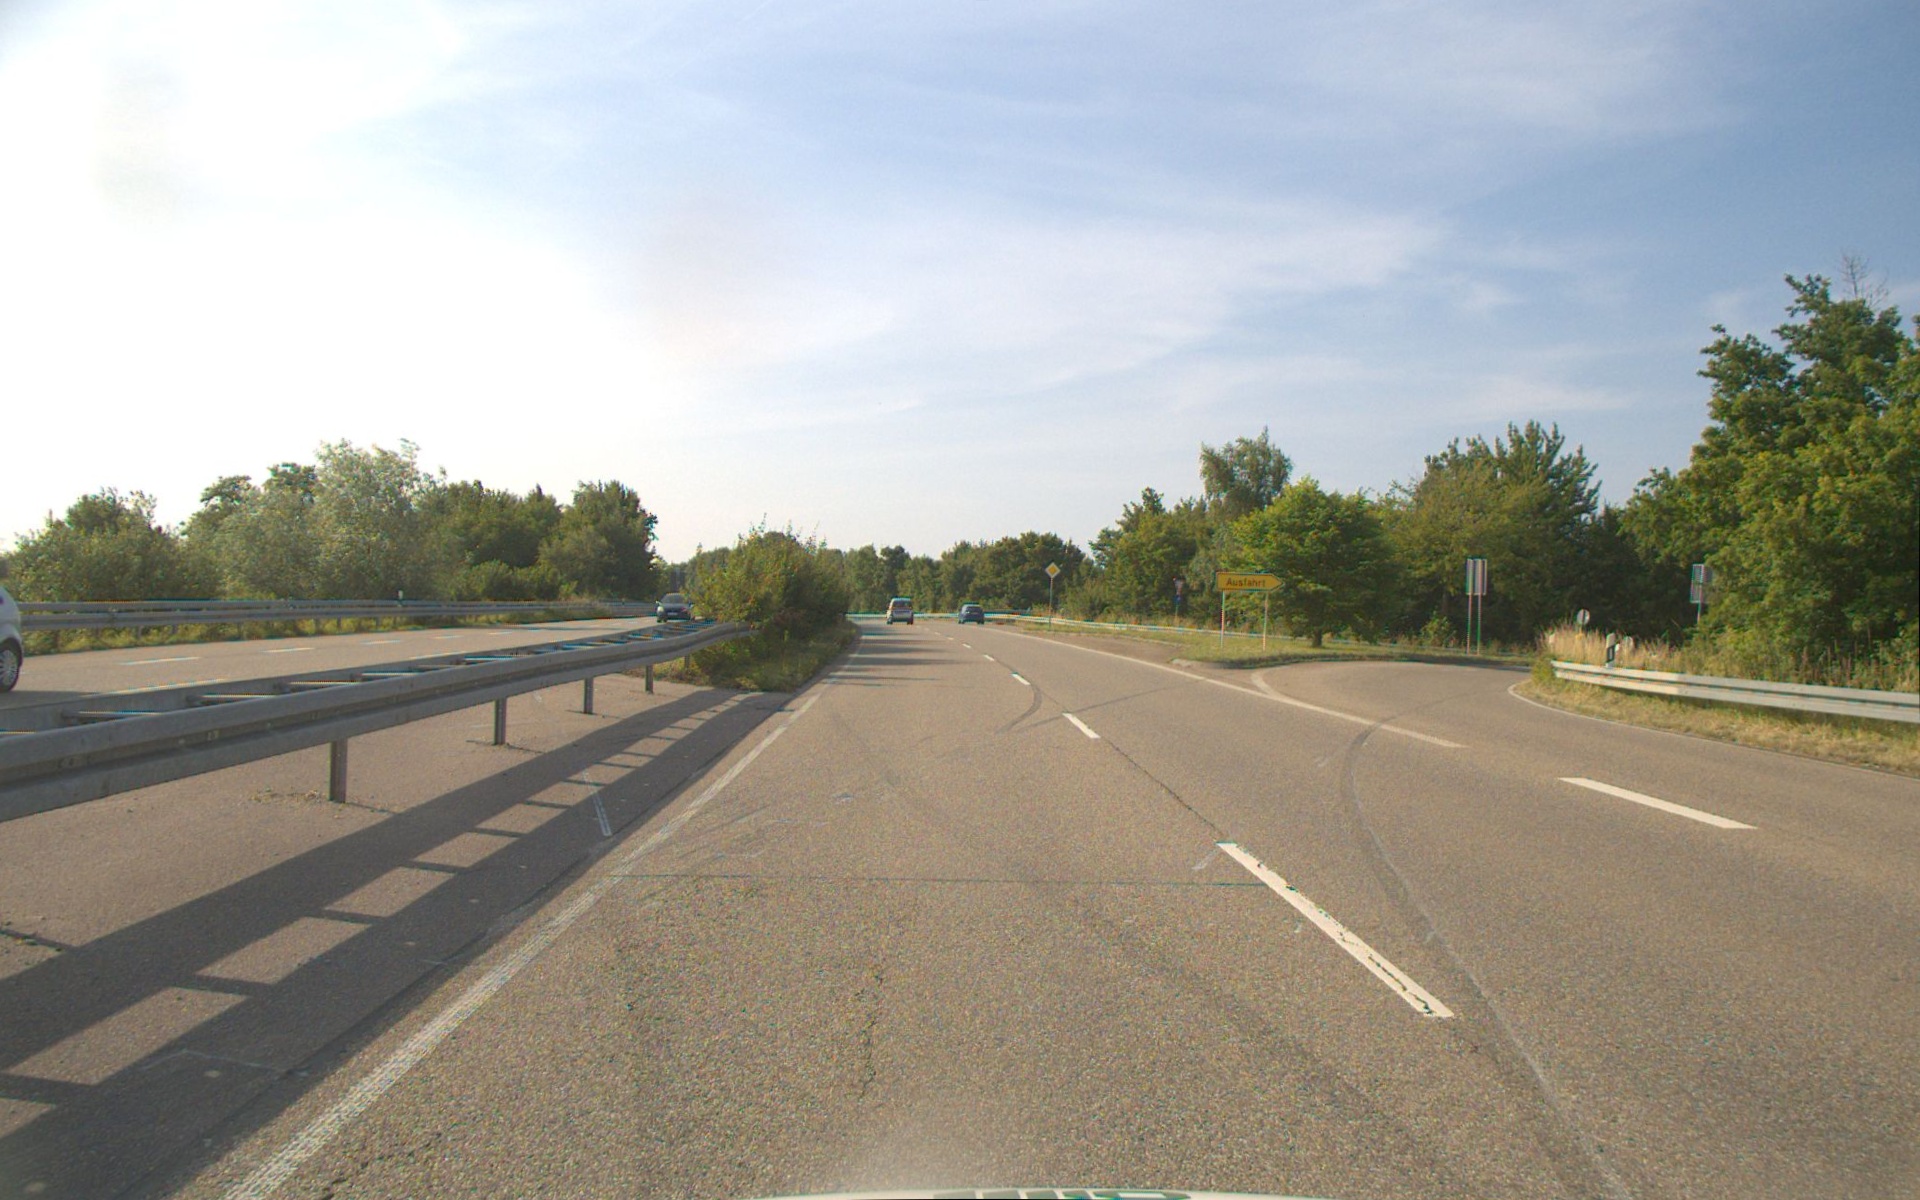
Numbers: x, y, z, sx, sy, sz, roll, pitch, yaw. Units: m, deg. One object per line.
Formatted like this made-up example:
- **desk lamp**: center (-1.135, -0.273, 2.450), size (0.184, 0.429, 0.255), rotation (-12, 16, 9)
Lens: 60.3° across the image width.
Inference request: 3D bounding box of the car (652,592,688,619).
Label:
- **car**: center (-14.619, 0.269, 83.514), size (1.459, 1.321, 3.265), rotation (1, -1, -4)

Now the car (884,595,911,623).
- **car**: center (-4.482, 0.671, 117.952), size (1.731, 1.915, 3.995), rotation (1, -1, -5)

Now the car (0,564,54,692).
- **car**: center (-11.618, 0.308, 17.766), size (1.606, 1.445, 3.999), rotation (0, 0, -1)

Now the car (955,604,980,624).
- **car**: center (0.576, 1.078, 128.118), size (1.743, 1.477, 3.997), rotation (0, -1, -3)
